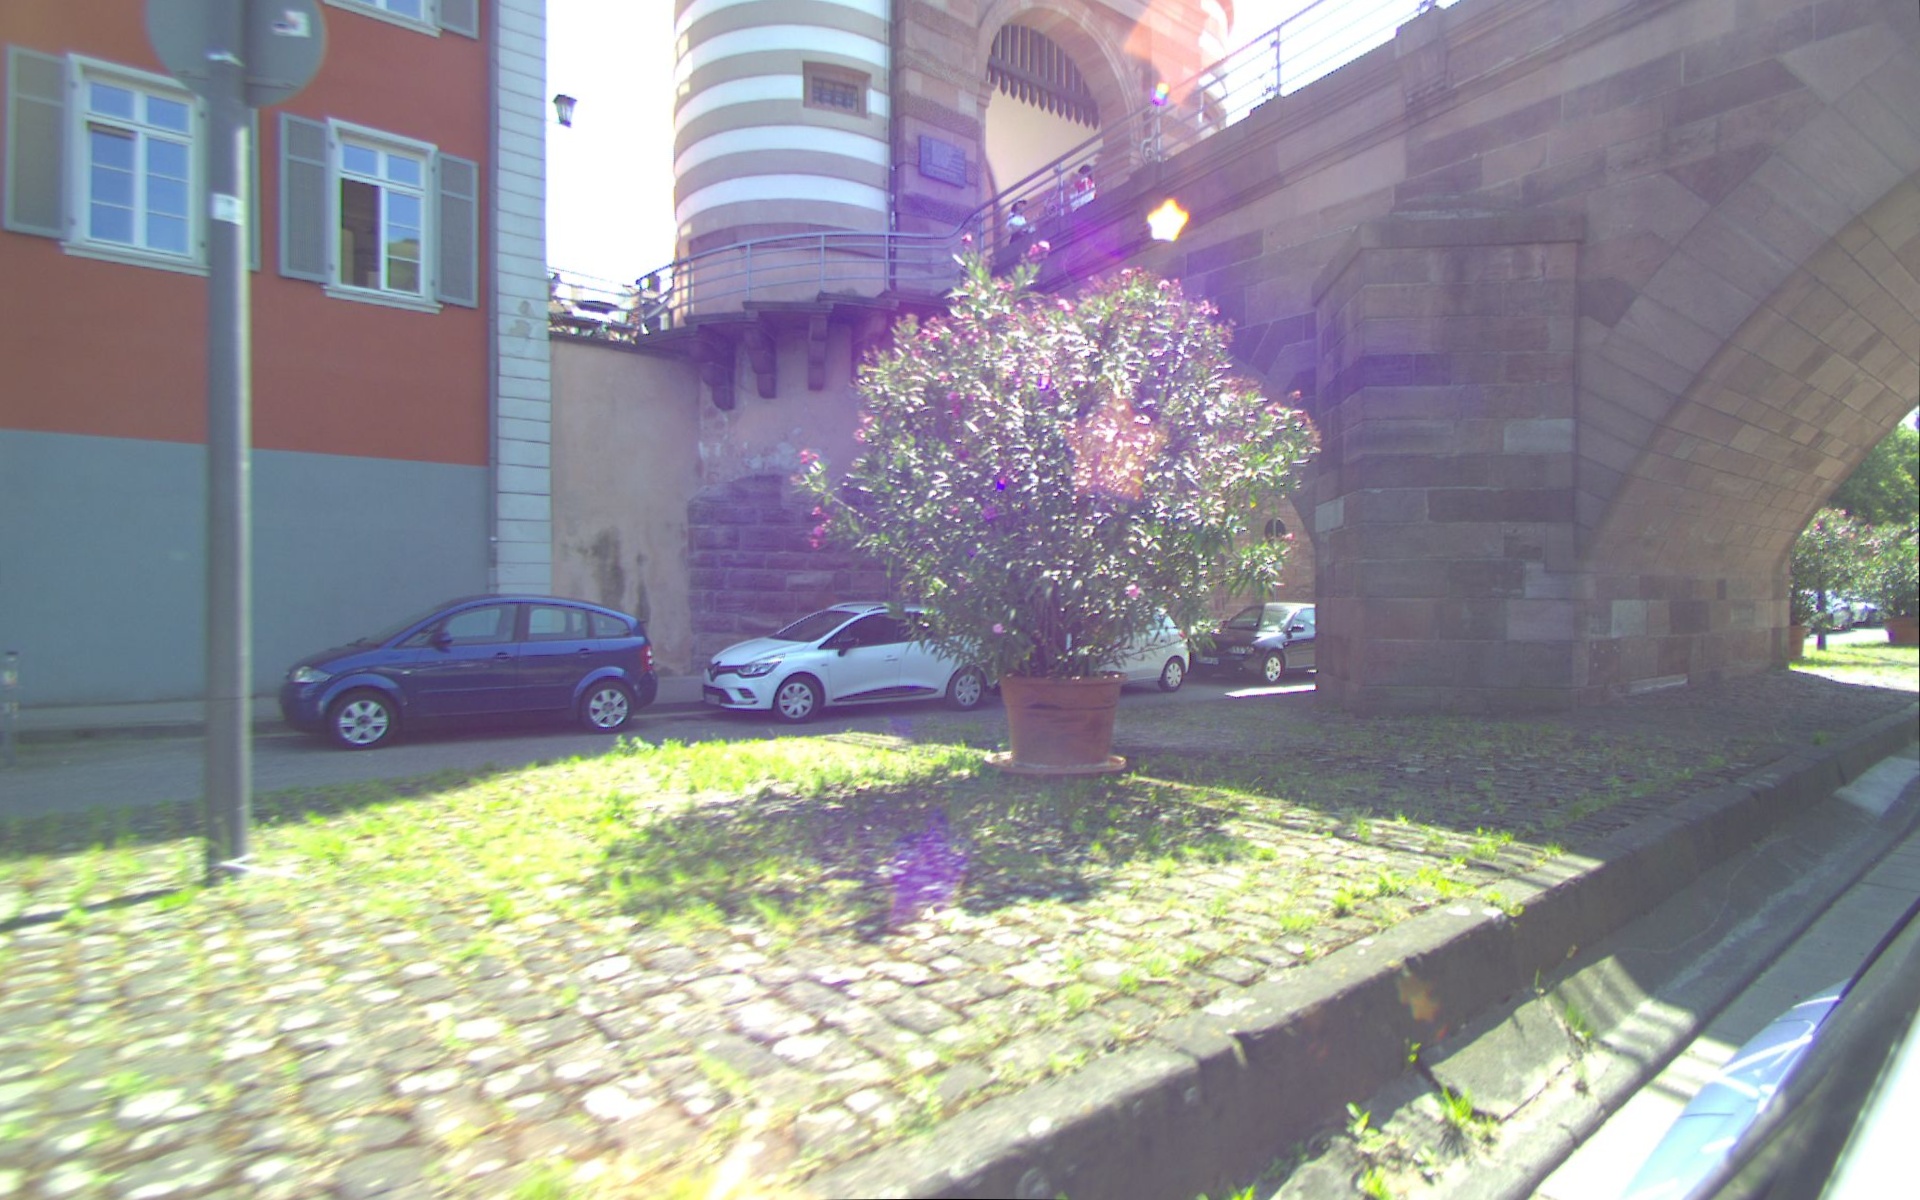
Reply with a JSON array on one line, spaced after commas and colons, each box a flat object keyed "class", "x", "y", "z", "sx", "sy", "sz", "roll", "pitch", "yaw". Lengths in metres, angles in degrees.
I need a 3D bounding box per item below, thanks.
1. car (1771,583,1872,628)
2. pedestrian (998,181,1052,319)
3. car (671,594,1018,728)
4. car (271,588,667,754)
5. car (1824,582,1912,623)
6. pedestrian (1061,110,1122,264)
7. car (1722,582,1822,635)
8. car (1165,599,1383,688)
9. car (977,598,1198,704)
[{"class": "car", "x": 30.812, "y": 0.156, "z": 36.148, "sx": 4.668, "sy": 1.450, "sz": 1.759, "roll": -2, "pitch": 1, "yaw": -37}, {"class": "pedestrian", "x": 1.098, "y": -5.872, "z": 17.077, "sx": 0.694, "sy": 2.038, "sz": 0.580, "roll": -1, "pitch": 1, "yaw": -38}, {"class": "car", "x": -1.482, "y": 0.695, "z": 13.765, "sx": 4.334, "sy": 1.511, "sz": 1.899, "roll": 0, "pitch": 1, "yaw": -37}, {"class": "car", "x": -5.369, "y": 0.663, "z": 11.261, "sx": 3.736, "sy": 1.562, "sz": 1.677, "roll": 0, "pitch": 0, "yaw": -33}, {"class": "car", "x": 34.712, "y": 0.059, "z": 38.663, "sx": 3.828, "sy": 1.431, "sz": 1.617, "roll": -1, "pitch": 1, "yaw": -34}, {"class": "pedestrian", "x": 2.053, "y": -6.424, "z": 15.836, "sx": 0.694, "sy": 2.038, "sz": 0.640, "roll": -1, "pitch": 1, "yaw": -38}, {"class": "car", "x": 26.502, "y": 0.243, "z": 33.024, "sx": 3.483, "sy": 1.474, "sz": 1.716, "roll": -2, "pitch": 6, "yaw": -38}, {"class": "car", "x": 6.135, "y": 0.756, "z": 19.555, "sx": 4.409, "sy": 1.454, "sz": 1.781, "roll": -1, "pitch": 1, "yaw": -37}, {"class": "car", "x": 2.133, "y": 0.735, "z": 16.408, "sx": 3.603, "sy": 1.495, "sz": 1.557, "roll": 0, "pitch": 1, "yaw": -40}]
